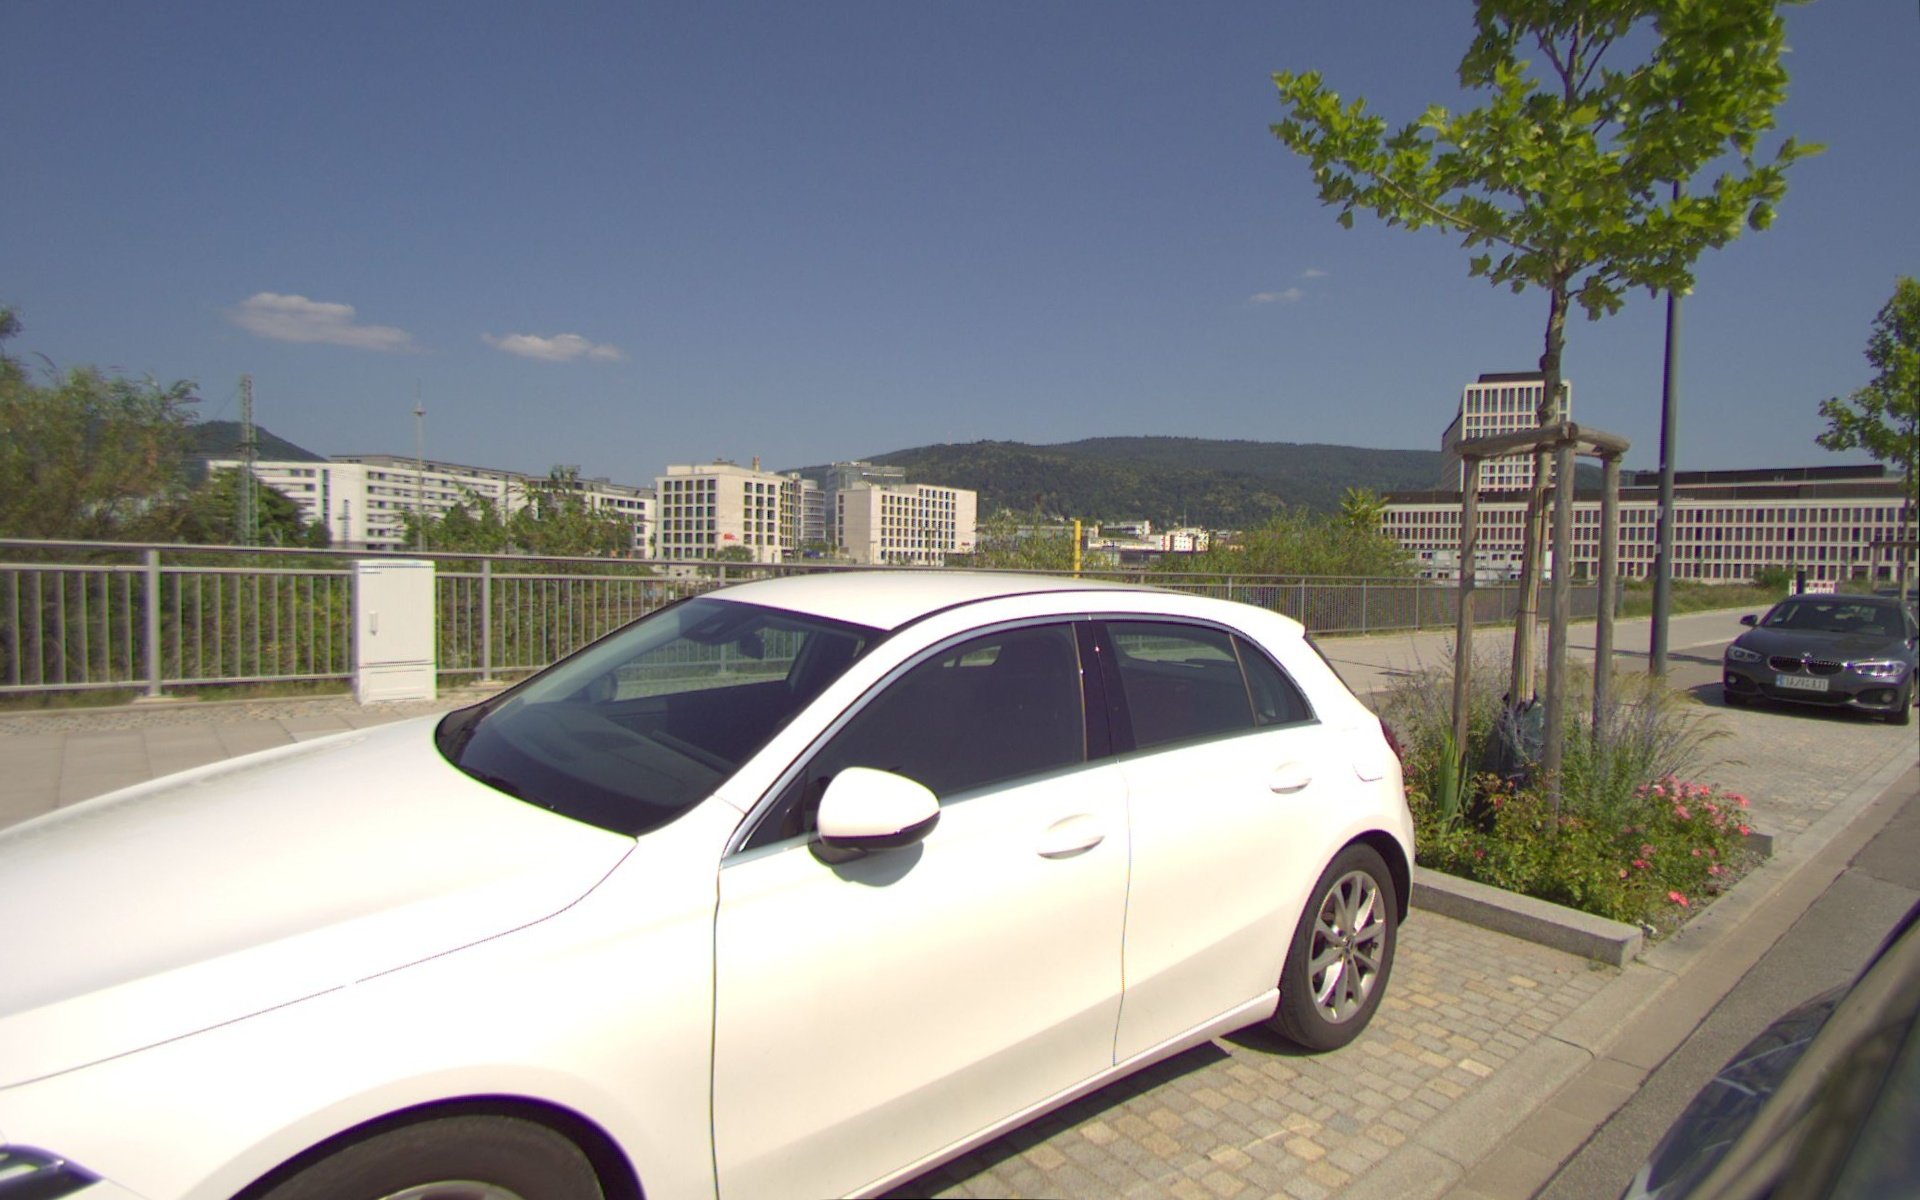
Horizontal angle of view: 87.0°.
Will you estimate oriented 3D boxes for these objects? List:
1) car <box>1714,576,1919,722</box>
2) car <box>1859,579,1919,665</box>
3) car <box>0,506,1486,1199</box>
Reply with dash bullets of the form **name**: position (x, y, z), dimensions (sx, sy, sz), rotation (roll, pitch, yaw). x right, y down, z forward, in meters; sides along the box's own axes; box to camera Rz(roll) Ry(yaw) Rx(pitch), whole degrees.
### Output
- **car**: position (11.183, 0.489, 12.767), dimensions (3.848, 1.449, 1.808), rotation (-1, 5, -41)
- **car**: position (18.234, 0.399, 18.996), dimensions (2.954, 1.491, 1.569), rotation (-1, 5, -41)
- **car**: position (-0.316, 0.533, 2.878), dimensions (4.196, 1.390, 1.711), rotation (-1, 5, -41)
